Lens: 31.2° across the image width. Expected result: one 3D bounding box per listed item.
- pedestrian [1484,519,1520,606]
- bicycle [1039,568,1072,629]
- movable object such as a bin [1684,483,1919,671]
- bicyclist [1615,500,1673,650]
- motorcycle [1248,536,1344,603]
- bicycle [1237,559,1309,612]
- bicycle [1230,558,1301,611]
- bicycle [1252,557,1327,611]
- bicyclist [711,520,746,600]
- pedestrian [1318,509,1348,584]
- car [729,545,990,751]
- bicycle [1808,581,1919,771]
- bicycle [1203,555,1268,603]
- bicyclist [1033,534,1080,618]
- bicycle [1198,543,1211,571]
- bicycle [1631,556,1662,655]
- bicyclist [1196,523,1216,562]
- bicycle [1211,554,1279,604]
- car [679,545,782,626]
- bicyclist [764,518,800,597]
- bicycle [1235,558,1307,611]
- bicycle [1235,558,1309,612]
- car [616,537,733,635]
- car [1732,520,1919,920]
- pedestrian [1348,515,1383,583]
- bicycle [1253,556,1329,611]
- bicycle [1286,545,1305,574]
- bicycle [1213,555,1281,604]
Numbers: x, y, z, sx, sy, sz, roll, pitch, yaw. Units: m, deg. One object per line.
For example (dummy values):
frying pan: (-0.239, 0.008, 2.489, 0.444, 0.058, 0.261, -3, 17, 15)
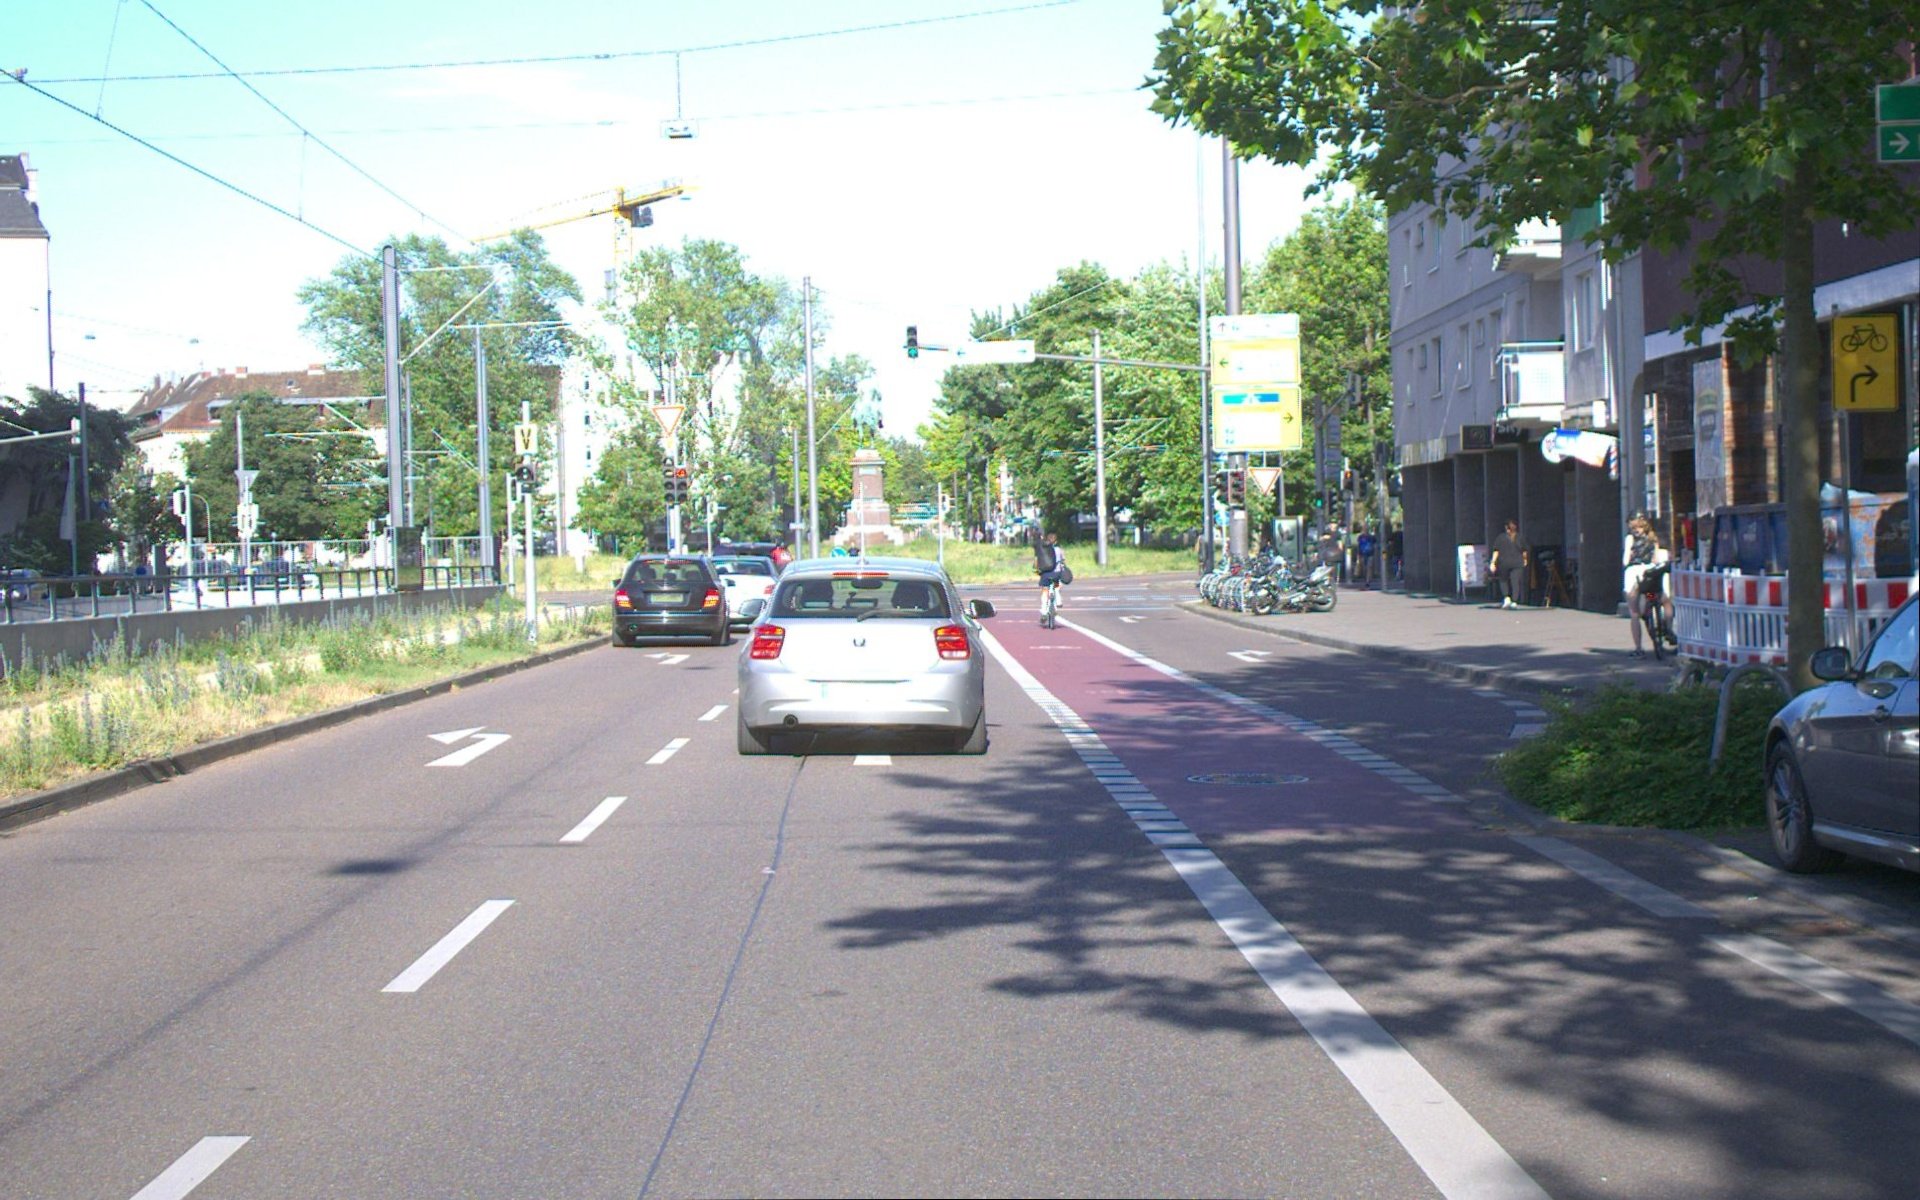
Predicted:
pedestrian: (9.905, -0.681, 62.840, 0.573, 1.577, 0.556, 0, 1, 1)
bicycle: (1.743, -0.035, 62.901, 0.499, 1.085, 1.997, 1, 1, -1)
movable object such as a bin: (9.077, -0.288, 35.943, 1.945, 1.837, 3.481, -1, 2, -6)
bicyclist: (7.736, -0.285, 38.896, 0.601, 1.684, 0.597, -1, 1, 10)
motorcycle: (6.606, -0.600, 67.630, 1.855, 1.296, 0.652, 0, 1, 3)
bicycle: (6.523, -0.302, 71.623, 1.465, 1.063, 0.257, -2, 0, 2)
bicycle: (6.455, -0.326, 72.664, 1.465, 1.063, 0.257, -2, 0, 2)
bicycle: (6.661, -0.324, 69.545, 1.465, 1.063, 0.257, -2, 0, 2)
bicyclist: (-4.569, -0.794, 67.891, 0.616, 1.566, 0.686, 1, 0, 1)
pedestrian: (10.177, -1.453, 93.776, 0.791, 2.007, 0.870, 1, 0, 6)
car: (-0.748, 0.297, 25.699, 1.798, 1.410, 4.000, 0, 1, -2)
bicycle: (6.128, 0.472, 21.925, 0.580, 1.158, 2.238, 1, 1, -8)
bicycle: (6.373, -0.488, 79.575, 1.465, 1.063, 0.257, -2, 0, 2)
bicyclist: (1.764, -0.443, 62.896, 0.785, 1.526, 0.895, 1, 1, -1)
bicycle: (8.665, -1.527, 121.720, 0.352, 0.955, 1.573, 1, 1, 1)
bicycle: (7.767, 0.051, 38.877, 0.317, 1.081, 1.684, -1, 1, 12)
bicyclist: (8.713, -2.027, 121.794, 0.616, 1.375, 0.686, 1, 0, 1)
bicycle: (6.387, -0.470, 77.027, 1.465, 1.063, 0.257, -2, 0, 2)
car: (-4.132, -0.283, 62.417, 1.644, 1.416, 4.000, 1, 1, -1)
bicyclist: (-3.534, -0.840, 68.130, 0.616, 1.566, 0.686, 0, 1, -12)
bicycle: (6.518, -0.326, 71.995, 1.465, 1.063, 0.257, -2, 0, 2)
bicycle: (6.423, -0.306, 70.778, 1.465, 1.063, 0.257, -2, 0, 2)
car: (-4.475, -0.241, 54.301, 1.726, 1.465, 4.411, 0, 1, -3)
car: (4.609, 0.454, 14.164, 1.789, 1.550, 4.436, 0, 1, -1)
pedestrian: (11.202, -1.400, 94.934, 0.826, 1.850, 0.916, 1, 1, 14)
bicycle: (6.658, -0.334, 69.174, 1.465, 1.063, 0.257, -2, 0, 2)
bicycle: (12.002, -1.457, 123.163, 0.417, 1.005, 1.945, 1, 1, -2)
bicycle: (6.402, -0.457, 76.701, 1.465, 1.063, 0.257, -2, 0, 2)
